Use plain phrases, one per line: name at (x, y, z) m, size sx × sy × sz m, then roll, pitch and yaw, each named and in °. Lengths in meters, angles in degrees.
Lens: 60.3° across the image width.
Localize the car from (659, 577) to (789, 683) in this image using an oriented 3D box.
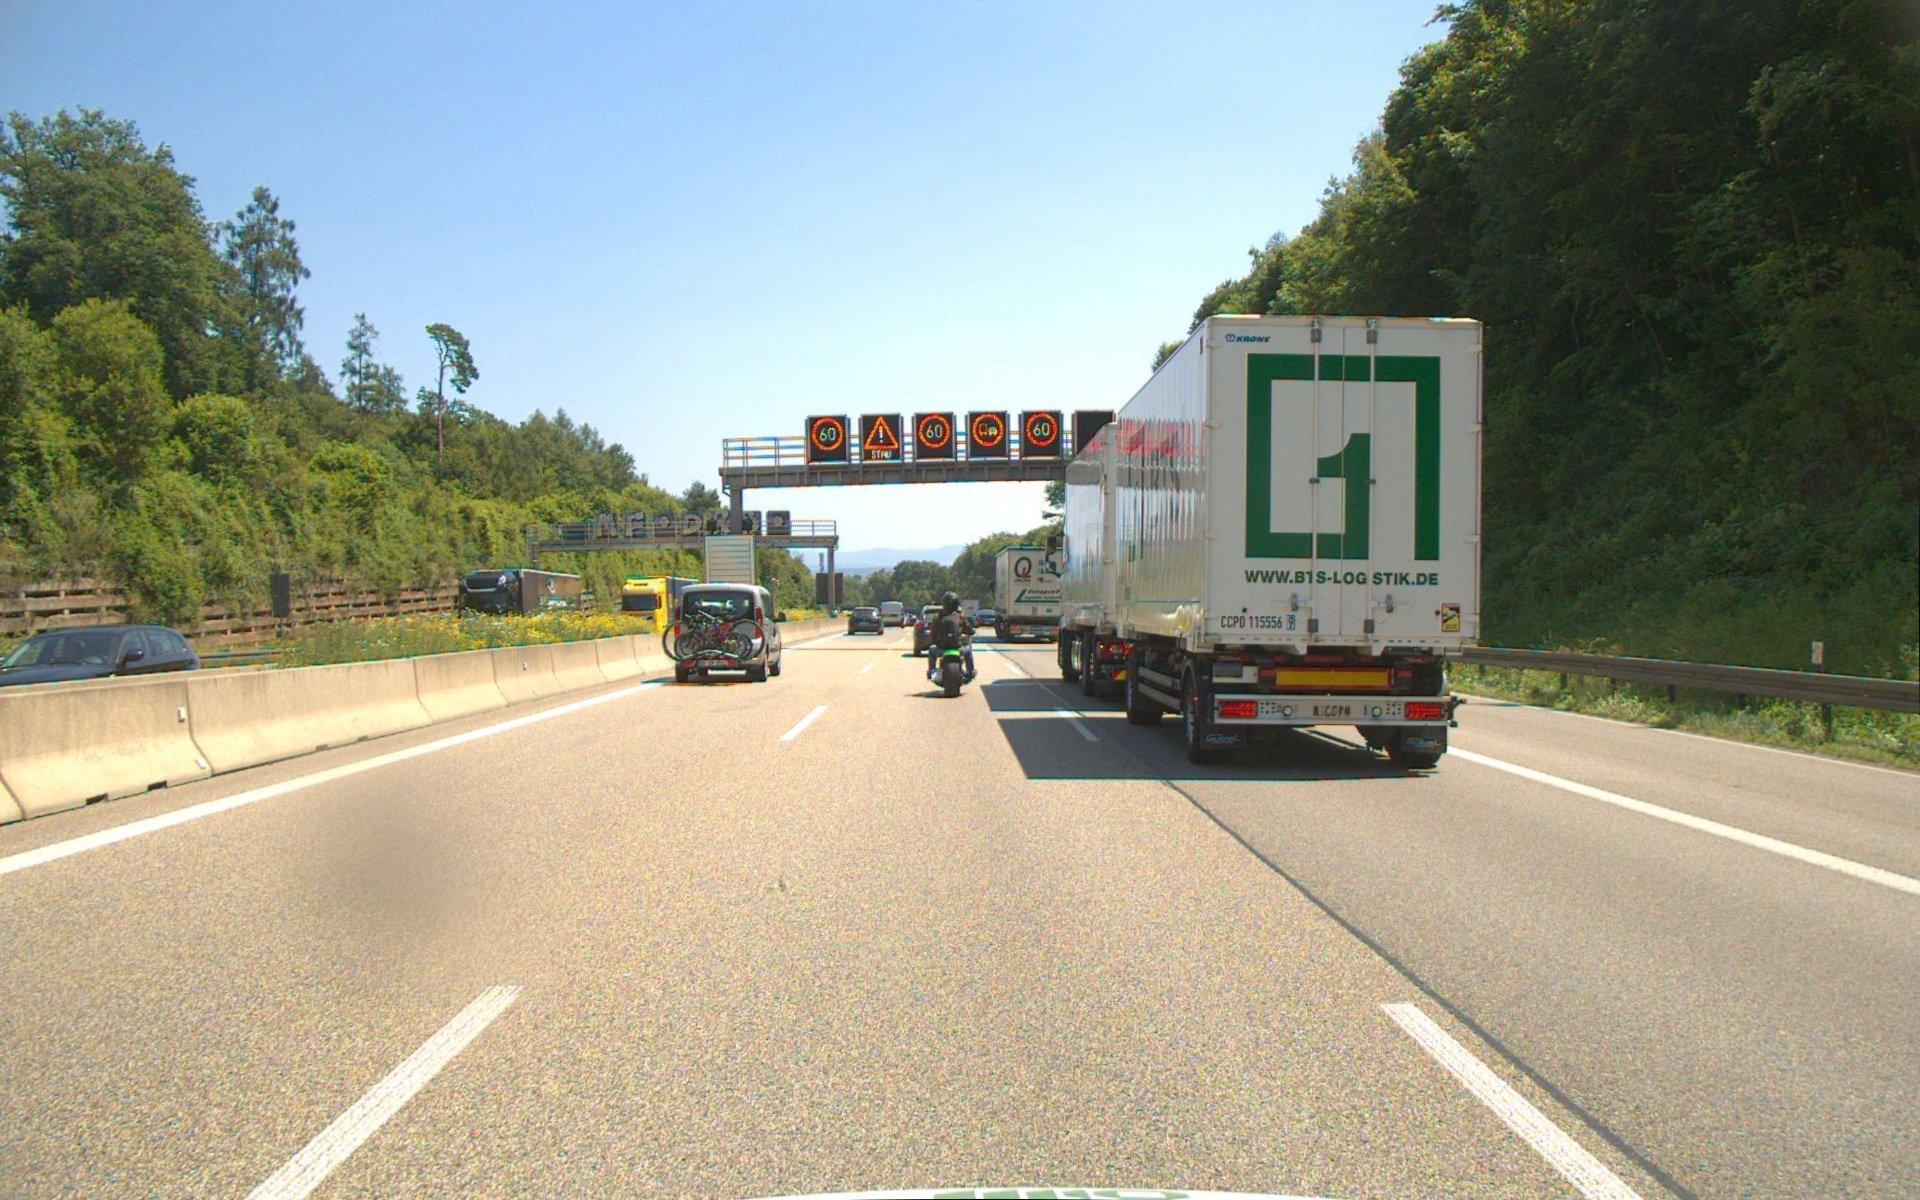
car at (-4.520, 0.570, 32.433) m, size 1.859 × 1.880 × 5.481 m, roll 0°, pitch -1°, yaw -1°

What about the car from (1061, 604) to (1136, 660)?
car at (4.147, 0.933, 50.154) m, size 1.808 × 1.584 × 4.391 m, roll 0°, pitch 0°, yaw -1°

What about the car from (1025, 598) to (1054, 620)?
car at (5.716, 0.639, 119.653) m, size 1.794 × 1.553 × 4.026 m, roll 0°, pitch 0°, yaw -1°

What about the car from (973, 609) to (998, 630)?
car at (1.902, 1.470, 124.933) m, size 1.794 × 1.553 × 4.026 m, roll 0°, pitch 0°, yaw -1°

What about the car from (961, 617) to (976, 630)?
car at (1.060, 2.960, 207.688) m, size 1.794 × 1.553 × 4.026 m, roll 0°, pitch 0°, yaw -1°

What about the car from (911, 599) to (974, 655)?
car at (-0.538, 0.766, 49.765) m, size 1.808 × 1.584 × 4.438 m, roll 0°, pitch 0°, yaw -1°

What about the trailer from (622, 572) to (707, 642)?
trailer at (-19.646, 0.459, 111.066) m, size 2.917 × 4.280 × 14.464 m, roll -3°, pitch 0°, yaw 0°

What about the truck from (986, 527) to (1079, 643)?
truck at (3.158, -0.610, 78.087) m, size 3.314 × 4.800 × 17.705 m, roll 1°, pitch 0°, yaw -1°

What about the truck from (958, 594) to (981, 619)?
truck at (1.329, 0.963, 233.709) m, size 3.005 × 3.405 × 9.650 m, roll 1°, pitch 0°, yaw -1°

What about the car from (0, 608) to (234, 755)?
car at (-11.058, 0.966, 21.191) m, size 1.726 × 1.633 × 4.081 m, roll -2°, pitch 0°, yaw -1°

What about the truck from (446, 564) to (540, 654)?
truck at (-22.829, 0.429, 81.170) m, size 2.875 × 4.130 × 5.867 m, roll -3°, pitch 0°, yaw -1°

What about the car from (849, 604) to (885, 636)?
car at (-4.902, 1.035, 87.379) m, size 1.722 × 1.571 × 4.394 m, roll 0°, pitch 0°, yaw -1°

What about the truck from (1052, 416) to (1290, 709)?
truck at (3.278, -0.510, 28.670) m, size 2.625 × 4.131 × 10.623 m, roll 0°, pitch 0°, yaw -1°

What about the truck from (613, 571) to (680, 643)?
truck at (-19.626, 0.437, 104.040) m, size 2.891 × 4.275 × 6.456 m, roll -3°, pitch 0°, yaw -1°

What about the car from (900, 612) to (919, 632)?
car at (-4.880, 2.092, 159.940) m, size 1.794 × 1.842 × 4.119 m, roll 0°, pitch 0°, yaw -1°

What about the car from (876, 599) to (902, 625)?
car at (-5.116, 0.851, 119.477) m, size 1.794 × 1.842 × 4.119 m, roll 0°, pitch 0°, yaw -1°

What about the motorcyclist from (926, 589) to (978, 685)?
motorcyclist at (-0.124, 0.599, 26.987) m, size 0.838 × 1.541 × 0.913 m, roll 0°, pitch -1°, yaw 0°

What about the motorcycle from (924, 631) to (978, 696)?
motorcycle at (-0.139, 1.021, 27.010) m, size 0.844 × 0.999 × 2.130 m, roll 0°, pitch -1°, yaw 0°

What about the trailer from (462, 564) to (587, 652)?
trailer at (-22.911, 0.413, 88.002) m, size 2.918 × 4.172 × 13.991 m, roll -3°, pitch 0°, yaw -1°

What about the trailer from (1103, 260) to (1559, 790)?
trailer at (3.418, -0.585, 18.307) m, size 2.625 × 4.249 × 10.062 m, roll 0°, pitch 0°, yaw -1°

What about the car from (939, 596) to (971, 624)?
car at (-0.316, 0.558, 95.531) m, size 1.794 × 1.586 × 4.119 m, roll 0°, pitch 0°, yaw -1°
